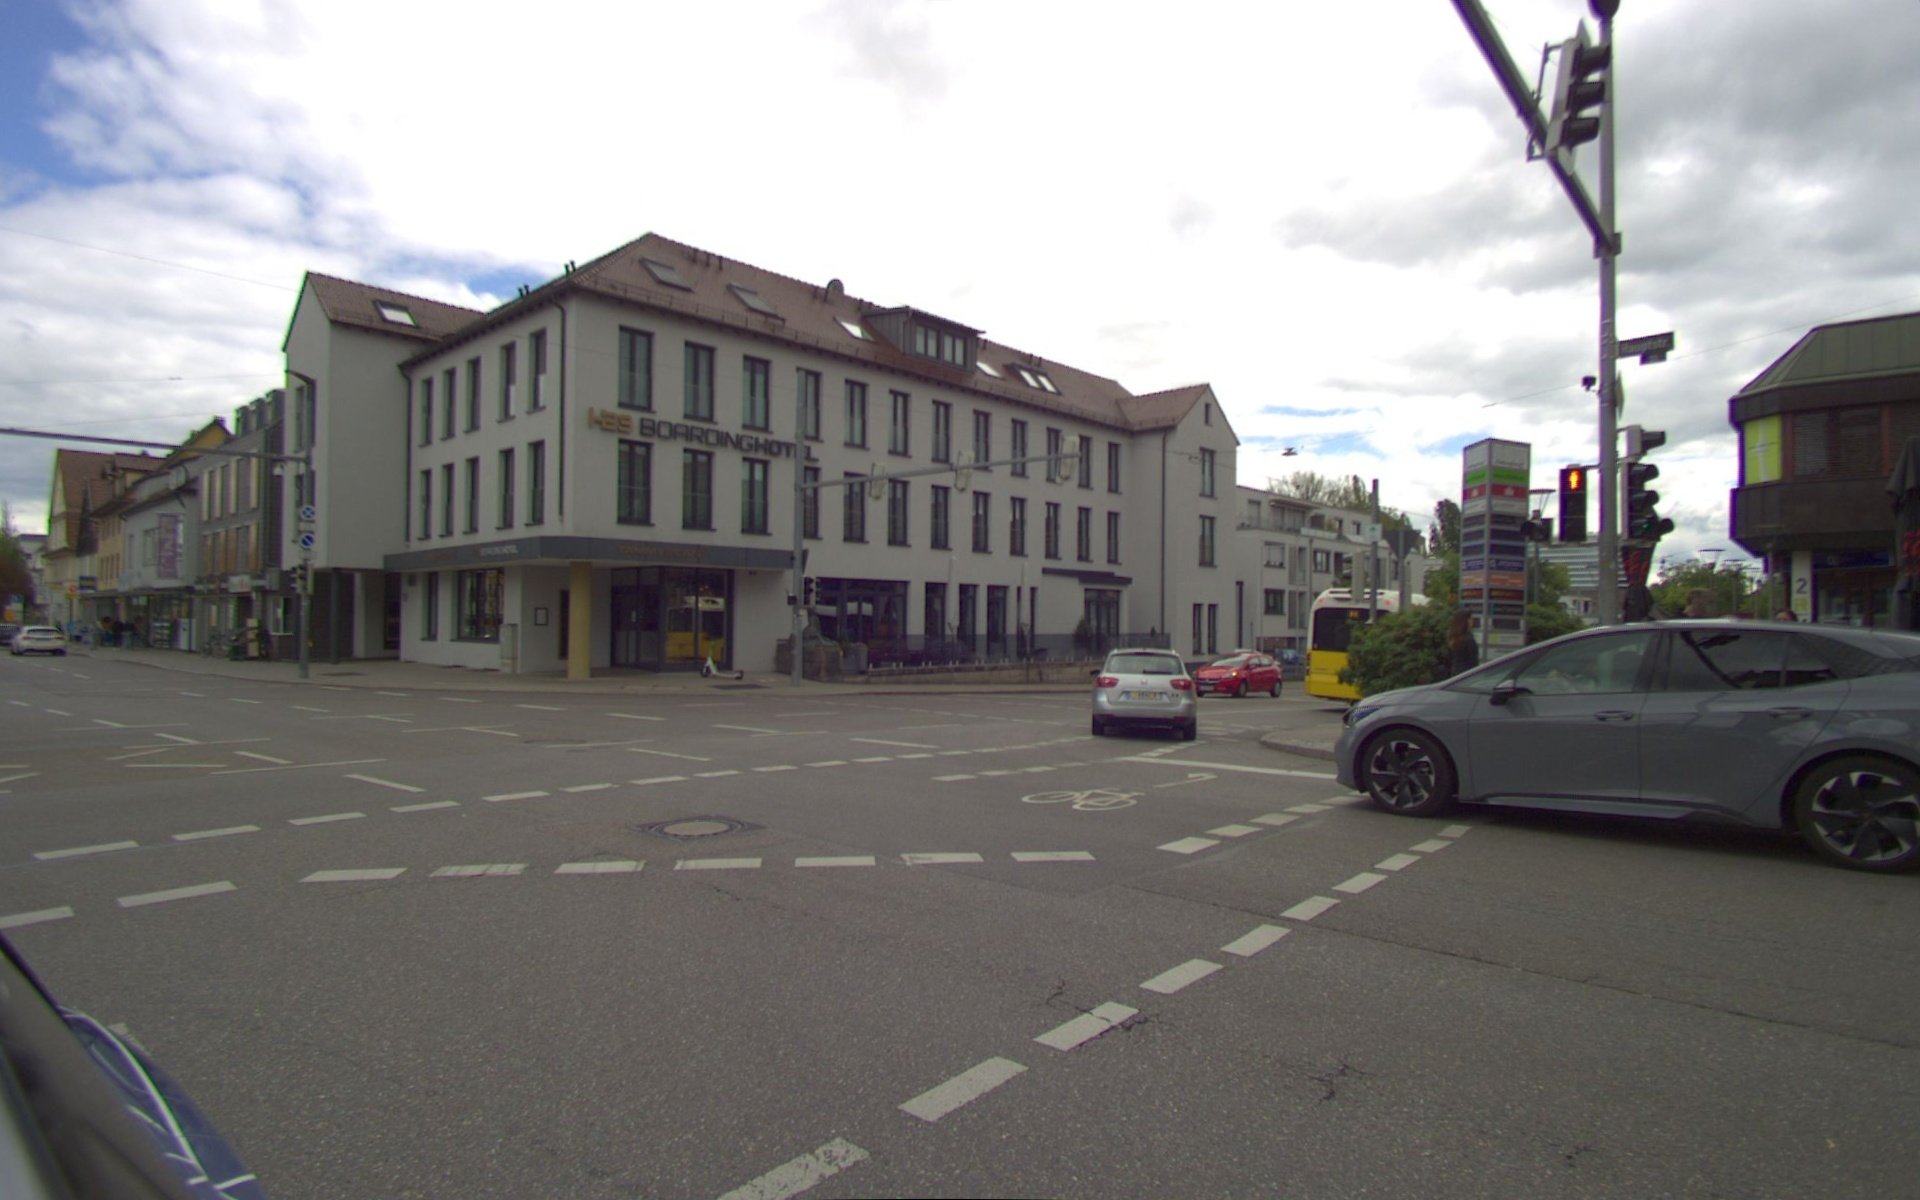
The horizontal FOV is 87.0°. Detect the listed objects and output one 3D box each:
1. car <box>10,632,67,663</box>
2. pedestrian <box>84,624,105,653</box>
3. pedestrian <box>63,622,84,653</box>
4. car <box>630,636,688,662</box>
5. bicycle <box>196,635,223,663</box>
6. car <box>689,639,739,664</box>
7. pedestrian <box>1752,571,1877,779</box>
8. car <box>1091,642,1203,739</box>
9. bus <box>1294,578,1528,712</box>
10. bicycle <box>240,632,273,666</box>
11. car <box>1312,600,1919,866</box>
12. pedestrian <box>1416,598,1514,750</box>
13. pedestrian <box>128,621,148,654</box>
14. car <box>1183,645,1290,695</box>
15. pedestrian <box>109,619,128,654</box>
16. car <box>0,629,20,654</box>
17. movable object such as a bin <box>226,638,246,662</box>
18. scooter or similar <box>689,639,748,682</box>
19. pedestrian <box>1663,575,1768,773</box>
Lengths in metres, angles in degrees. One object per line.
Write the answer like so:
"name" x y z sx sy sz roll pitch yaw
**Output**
"car" -44.838 2.280 49.211 4.235 1.470 1.725 -2 -3 43
"pedestrian" -48.175 2.158 56.353 0.921 1.595 0.801 -2 -2 44
"pedestrian" -48.784 2.050 55.687 0.921 1.674 0.801 -2 -2 44
"car" -14.652 2.351 49.149 1.377 1.189 3.356 3 -3 -42
"bicycle" -31.571 2.041 42.565 1.903 1.109 0.565 -2 -1 44
"car" -12.432 2.574 50.967 1.375 1.189 3.178 3 -4 -35
"pedestrian" 7.929 0.666 9.432 0.773 1.822 0.803 -2 -1 35
"car" 3.075 1.473 17.170 1.621 1.429 4.187 -1 -4 8
"bus" 14.104 1.482 30.756 2.996 3.353 12.134 -2 -4 42
"bicycle" -26.535 1.820 38.154 2.119 1.241 0.576 -1 -1 42
"car" 5.095 0.836 7.496 4.388 1.528 1.738 -2 -4 45
"pedestrian" 6.014 0.857 12.058 0.799 1.727 0.704 0 -2 -35
"pedestrian" -44.498 2.018 54.790 0.870 1.795 0.699 -2 -2 44
"car" 9.140 2.295 33.290 1.815 1.497 3.943 -1 -3 42
"pedestrian" -44.974 1.918 54.085 1.028 1.853 0.699 -2 -2 44
"car" -57.932 2.499 60.918 3.818 1.470 1.725 -2 -3 43
"movable object such as a bin" -28.502 1.976 39.863 0.506 0.906 0.545 -2 -1 41
"scooter or similar" -6.926 1.729 29.084 1.553 1.167 0.426 2 -1 2
"pedestrian" 7.320 0.687 9.845 0.744 1.822 0.803 -2 -1 35
